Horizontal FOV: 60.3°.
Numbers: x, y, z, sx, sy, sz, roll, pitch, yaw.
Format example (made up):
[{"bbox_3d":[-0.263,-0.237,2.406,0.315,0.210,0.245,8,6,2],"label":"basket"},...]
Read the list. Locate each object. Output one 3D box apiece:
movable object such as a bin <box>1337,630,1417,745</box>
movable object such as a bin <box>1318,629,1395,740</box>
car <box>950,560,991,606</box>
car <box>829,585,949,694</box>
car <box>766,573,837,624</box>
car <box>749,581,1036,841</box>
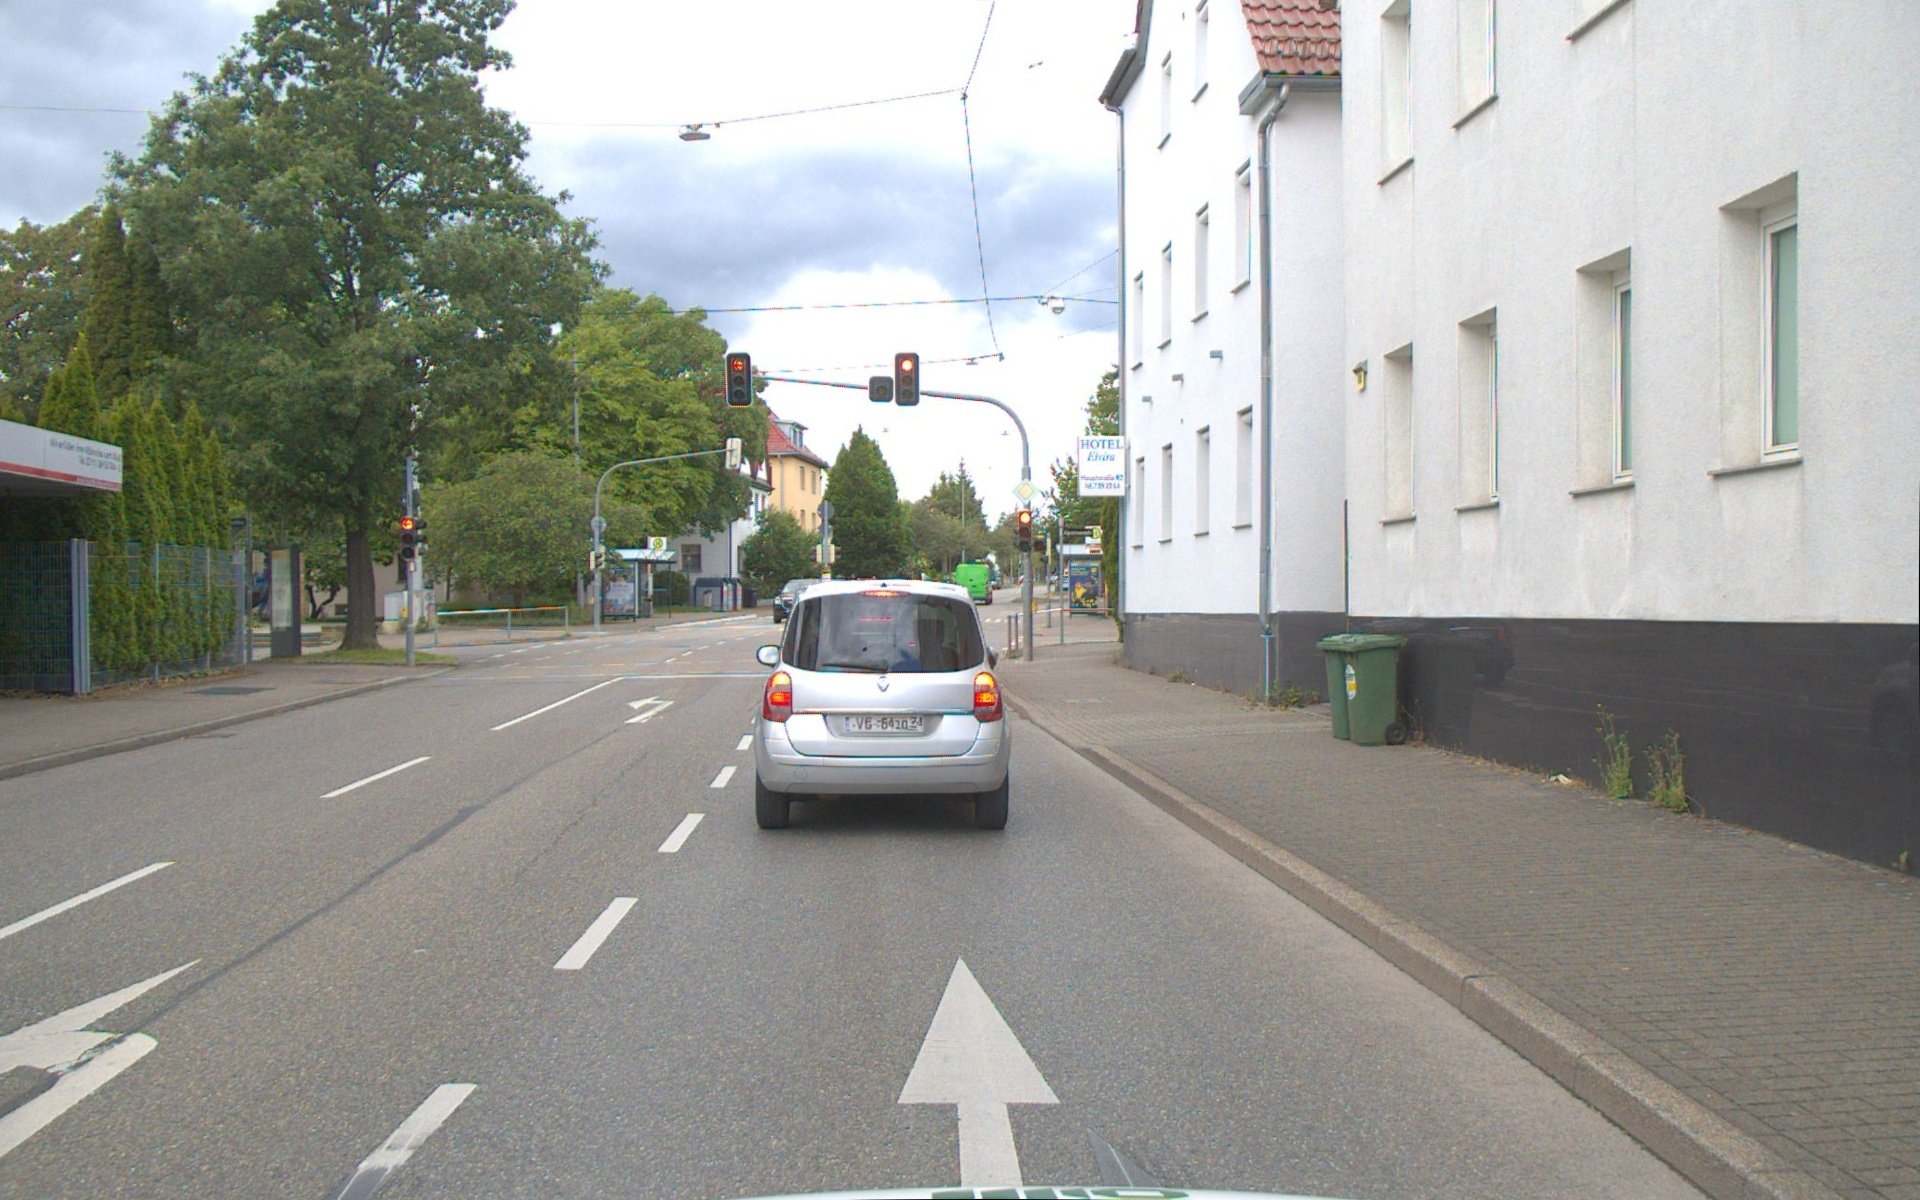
[{"bbox_3d":[3.658,0.758,14.530,0.529,0.957,0.487,-3,0,-3],"label":"movable object such as a bin"},{"bbox_3d":[3.605,0.758,15.064,0.529,0.957,0.487,-3,0,-3],"label":"movable object such as a bin"},{"bbox_3d":[0.656,-0.967,96.292,2.016,2.556,5.598,0,0,4],"label":"car"},{"bbox_3d":[-1.130,0.571,25.577,1.720,1.557,3.794,0,0,-4],"label":"car"},{"bbox_3d":[-6.284,-0.075,65.892,1.885,1.804,4.003,-4,0,7],"label":"car"},{"bbox_3d":[-0.522,0.669,11.981,1.720,1.557,3.997,0,0,-4],"label":"car"}]
